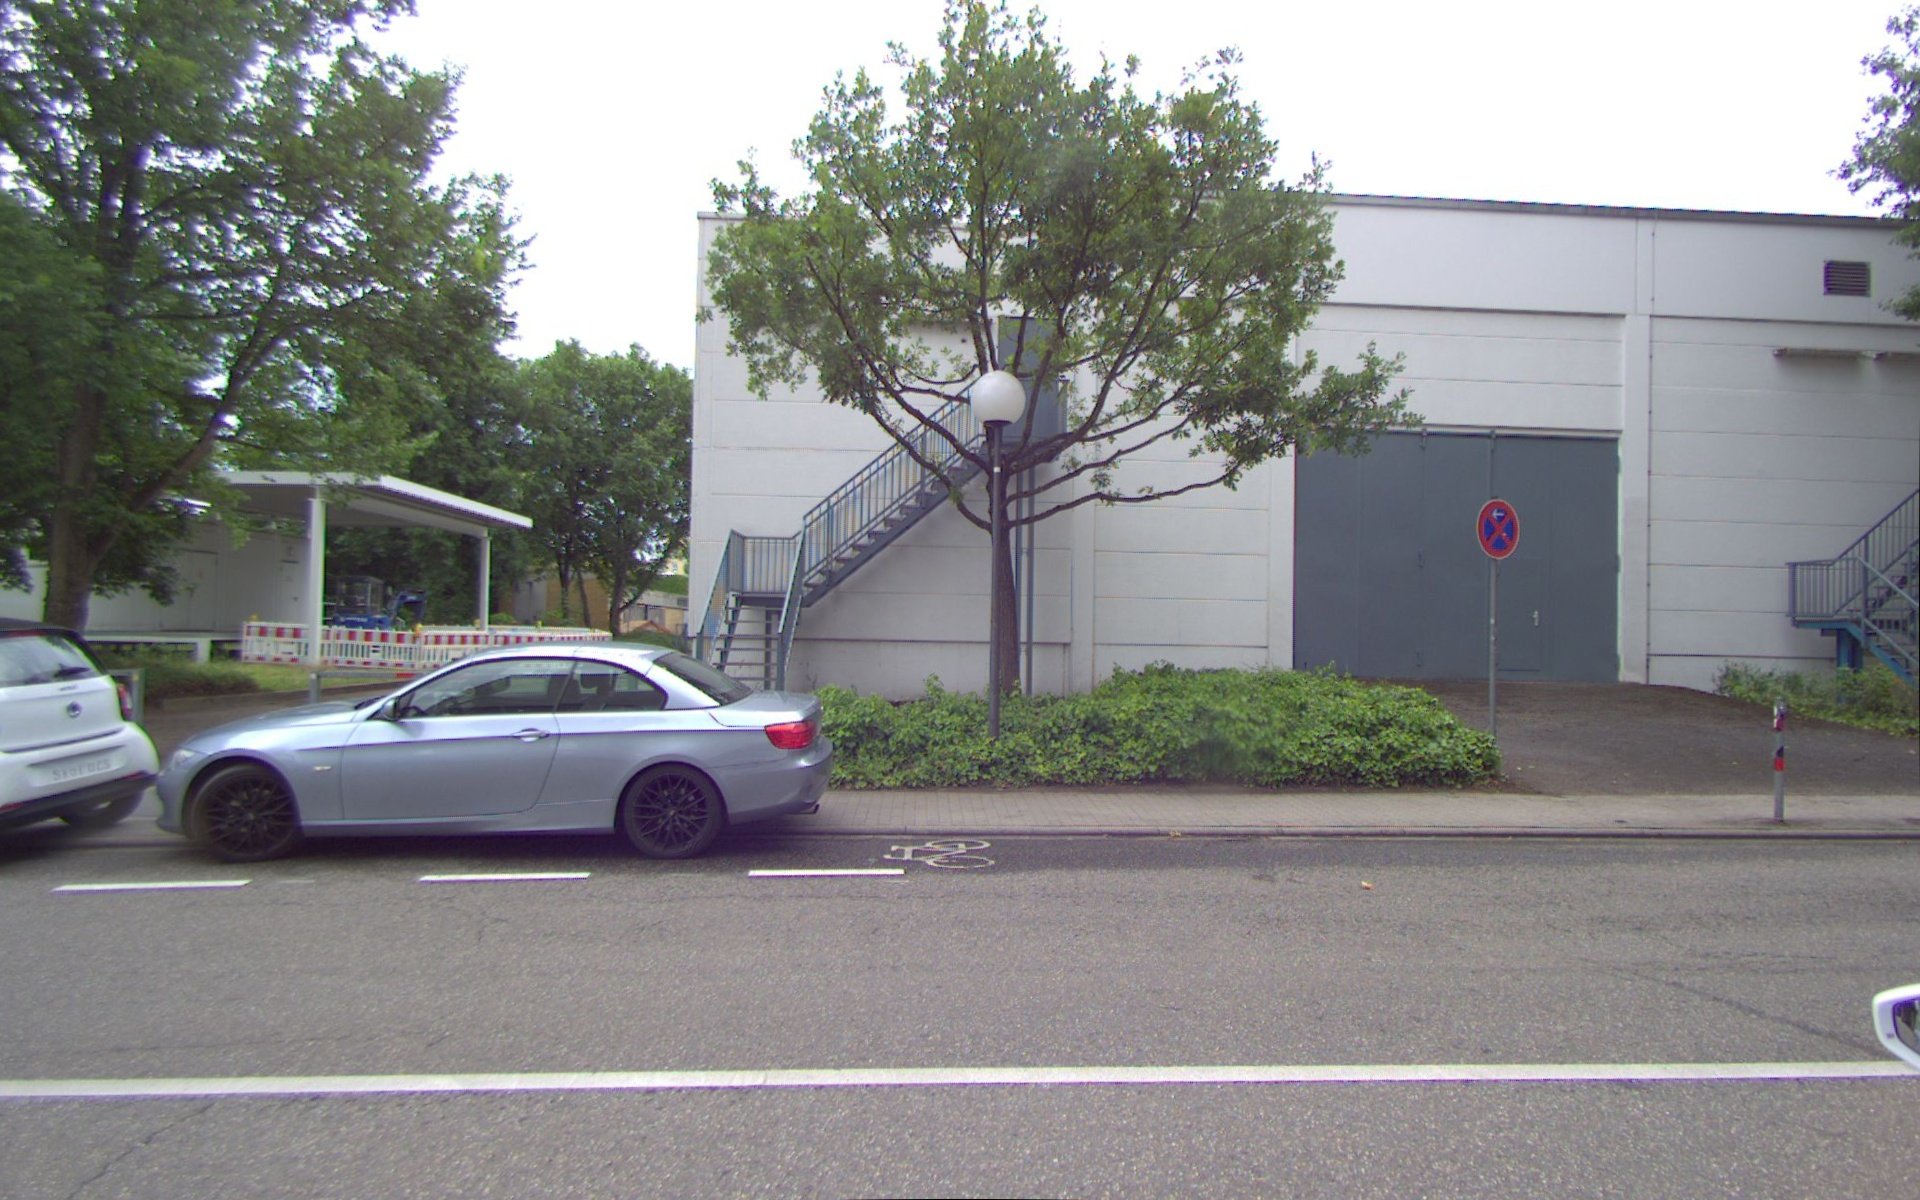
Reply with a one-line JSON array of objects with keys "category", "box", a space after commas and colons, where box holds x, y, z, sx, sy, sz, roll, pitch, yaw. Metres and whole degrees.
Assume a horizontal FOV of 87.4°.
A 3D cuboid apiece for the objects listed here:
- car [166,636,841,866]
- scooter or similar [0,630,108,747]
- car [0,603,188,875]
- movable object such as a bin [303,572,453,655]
[{"category": "car", "box": [-2.986, 1.006, 7.399, 4.115, 1.407, 1.822, 1, -1, -6]}, {"category": "scooter or similar", "box": [-10.157, 0.945, 10.905, 0.443, 1.226, 1.301, 0, -1, 38]}, {"category": "car", "box": [-7.599, 0.821, 6.480, 3.803, 1.607, 1.721, 0, -1, -4]}, {"category": "movable object such as a bin", "box": [-16.877, 0.468, 29.448, 1.962, 2.200, 4.667, 1, -3, -6]}]
